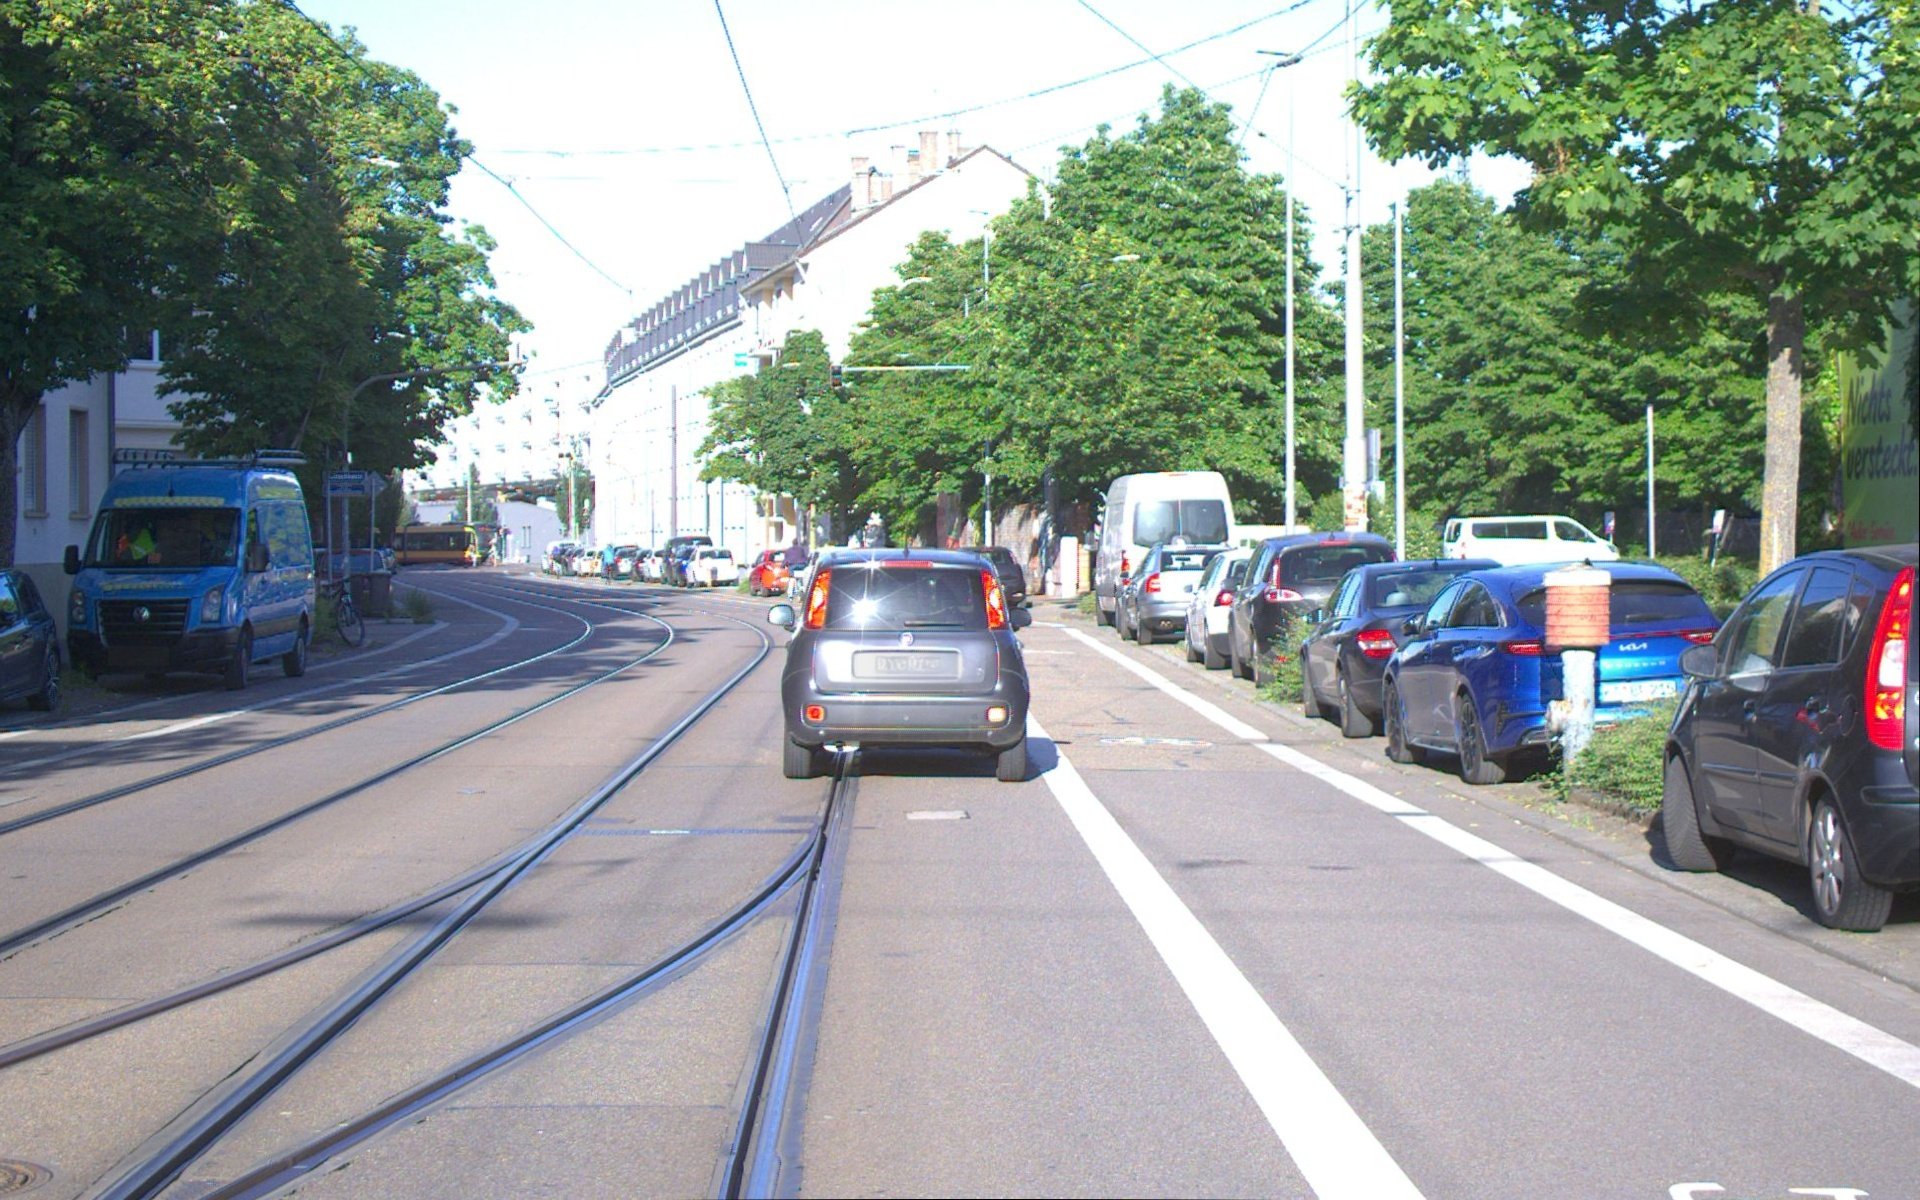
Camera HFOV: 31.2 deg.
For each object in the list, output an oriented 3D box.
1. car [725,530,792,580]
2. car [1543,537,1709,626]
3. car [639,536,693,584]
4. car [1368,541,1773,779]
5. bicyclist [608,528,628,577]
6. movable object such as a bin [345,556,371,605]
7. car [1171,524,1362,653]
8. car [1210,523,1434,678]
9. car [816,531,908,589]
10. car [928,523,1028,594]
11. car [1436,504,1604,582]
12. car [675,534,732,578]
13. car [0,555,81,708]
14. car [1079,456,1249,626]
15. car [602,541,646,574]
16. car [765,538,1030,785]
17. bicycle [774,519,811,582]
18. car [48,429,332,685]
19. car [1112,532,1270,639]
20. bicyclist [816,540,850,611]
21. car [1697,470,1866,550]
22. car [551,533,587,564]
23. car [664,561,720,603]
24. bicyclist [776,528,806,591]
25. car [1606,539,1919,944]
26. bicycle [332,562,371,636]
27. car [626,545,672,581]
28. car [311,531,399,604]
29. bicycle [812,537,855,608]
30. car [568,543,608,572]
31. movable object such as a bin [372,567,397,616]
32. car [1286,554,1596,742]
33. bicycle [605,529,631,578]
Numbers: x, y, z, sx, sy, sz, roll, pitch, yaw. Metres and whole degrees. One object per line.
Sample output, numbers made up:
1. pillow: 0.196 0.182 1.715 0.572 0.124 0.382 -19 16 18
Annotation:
1. car: -6.415 -1.444 109.170 1.635 1.503 3.398 -3 1 -11
2. car: 8.084 -0.235 41.917 1.309 1.030 3.057 1 1 -2
3. car: -12.226 -1.690 142.701 1.655 1.937 4.666 1 1 -12
4. car: 4.067 0.345 23.595 1.727 1.459 4.342 1 1 -4
5. bicyclist: -14.302 -1.982 143.781 0.715 2.007 0.832 1 1 -12
6. movable object such as a bin: -12.240 -0.406 69.923 0.484 0.984 0.660 1 1 -9
7. car: 3.769 -0.165 42.907 1.727 1.507 4.252 1 1 -4
8. car: 3.946 -0.024 38.120 1.727 1.599 4.343 1 1 -4
9. car: -2.719 -1.100 94.385 1.688 1.525 4.001 -2 1 -13
10. car: 0.377 -0.945 78.039 1.688 1.525 4.001 -2 1 -8
11. car: 15.671 -1.598 96.290 4.279 2.007 1.774 -2 1 -7
12. car: -9.523 -1.639 127.281 1.655 1.566 3.500 1 1 -12
13. car: -9.815 0.276 33.126 1.651 1.420 4.190 1 1 -1
14. car: 3.406 -0.998 58.743 2.180 2.656 6.092 -2 1 -2
15. car: -15.341 -1.960 156.913 1.582 1.400 3.377 -4 2 -12
16. car: -0.445 0.352 23.946 1.650 1.536 4.235 1 1 -1
17. bicycle: -4.662 -1.381 95.646 0.675 1.741 2.158 1 1 -12
18. car: -9.091 -0.520 41.136 2.017 2.816 6.032 1 1 0
19. car: 3.448 -0.243 52.058 1.910 1.524 4.601 -1 1 -2
20. bicyclist: -3.177 -0.624 86.125 0.699 1.753 0.758 1 1 -12
21. car: 23.600 -2.586 98.777 4.186 2.233 2.144 -1 1 -13
22. car: -20.616 -2.729 181.215 1.582 1.593 3.377 1 1 -12
23. car: -10.271 -0.699 131.620 1.655 1.566 3.877 1 1 -12
24. bicyclist: -4.693 -1.123 95.613 0.699 1.753 0.758 1 1 -12
25. car: 4.194 0.498 14.969 1.824 1.487 3.815 -2 1 -3
26. bicycle: -9.636 -0.024 54.485 0.512 1.130 2.032 1 1 -8
27. car: -13.442 -1.597 148.511 1.655 1.495 3.131 1 1 -12
28. car: -13.102 -0.719 74.568 1.688 1.525 4.001 1 1 -7
29. bicycle: -3.175 -0.692 86.101 0.675 1.741 2.158 1 1 -12
30. car: -18.325 -2.087 169.348 1.582 1.400 3.377 1 1 -12
31. movable object such as a bin: -11.714 -0.170 70.005 0.484 0.984 0.660 1 1 -9
32. car: 4.022 0.349 29.439 1.727 1.459 4.499 1 1 -4
33. bicycle: -14.303 -1.958 143.717 0.741 2.007 2.813 1 1 -12
